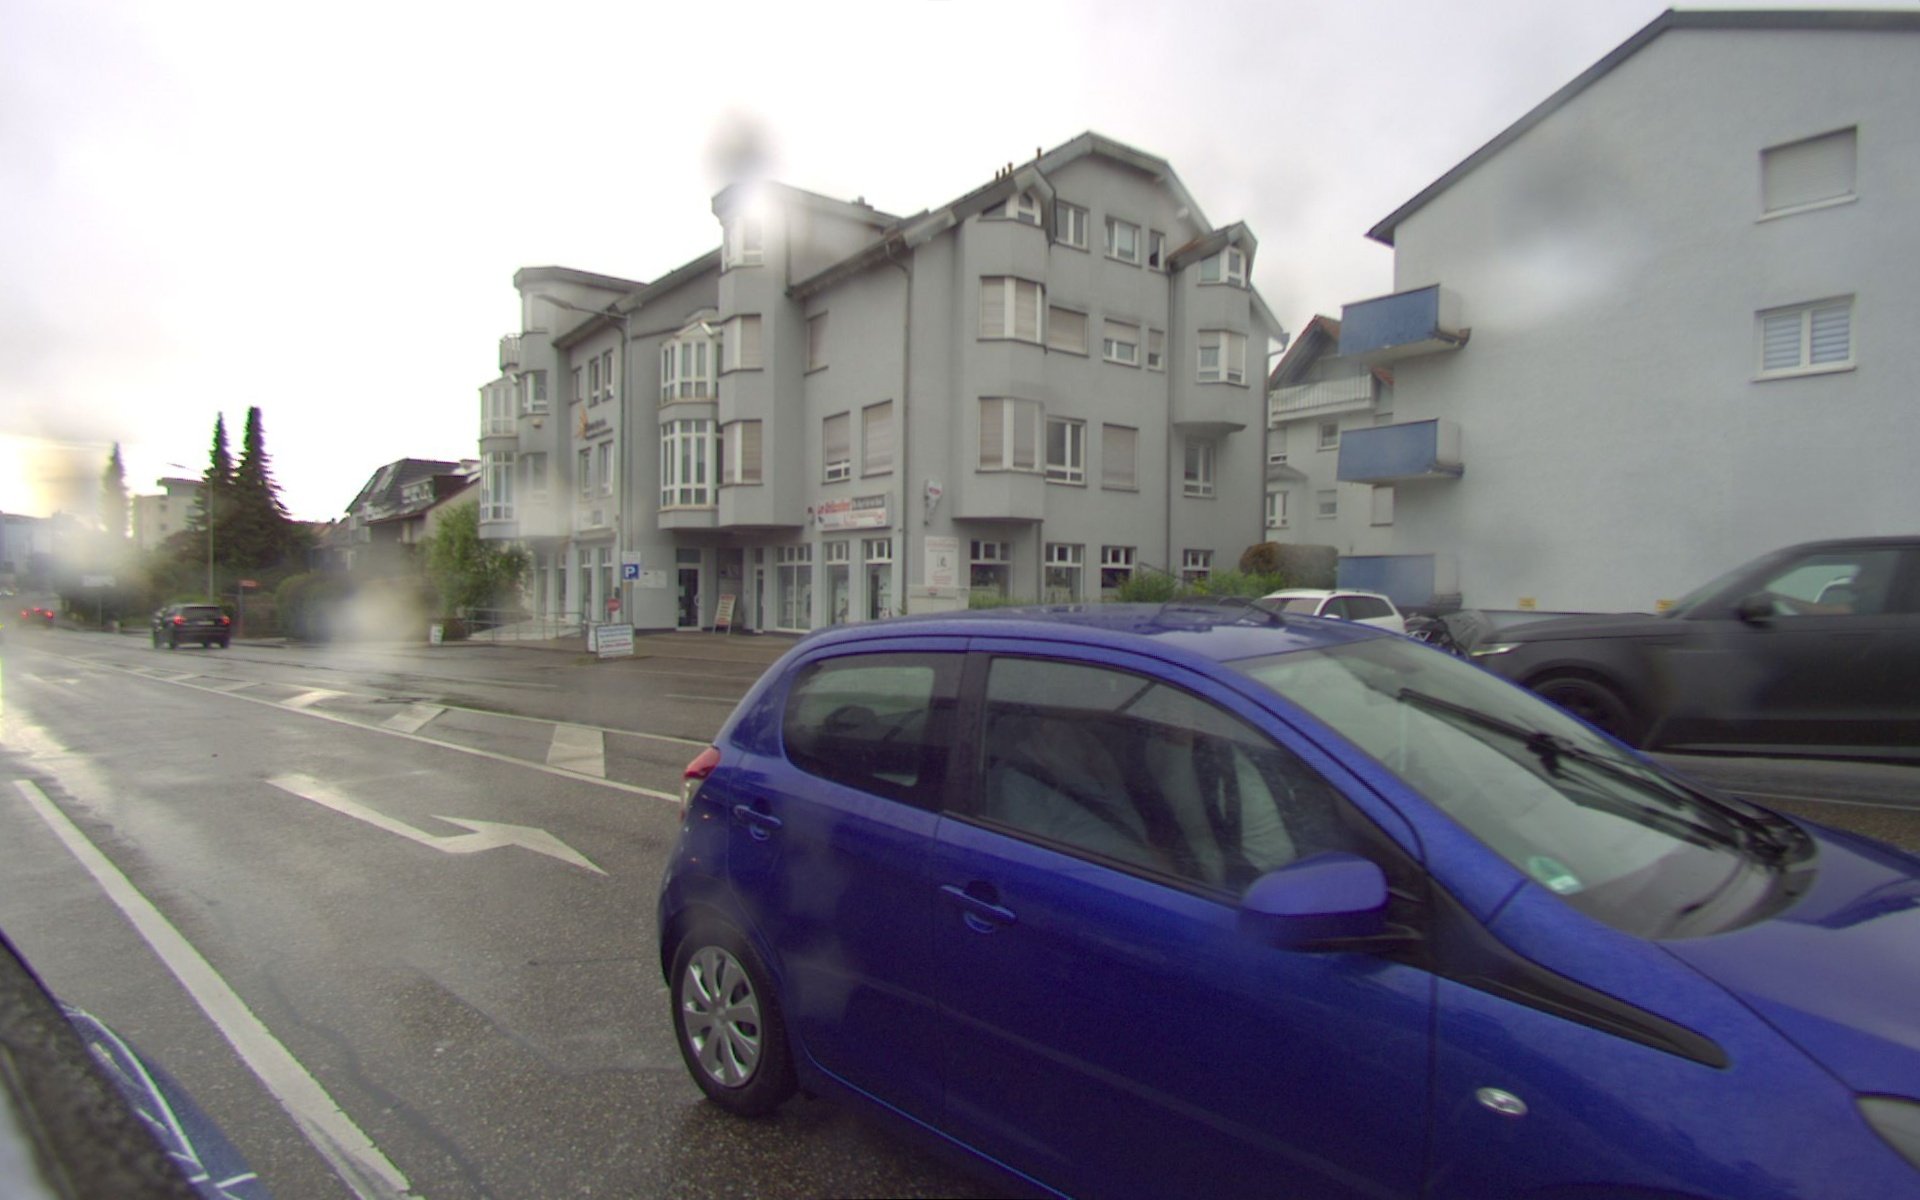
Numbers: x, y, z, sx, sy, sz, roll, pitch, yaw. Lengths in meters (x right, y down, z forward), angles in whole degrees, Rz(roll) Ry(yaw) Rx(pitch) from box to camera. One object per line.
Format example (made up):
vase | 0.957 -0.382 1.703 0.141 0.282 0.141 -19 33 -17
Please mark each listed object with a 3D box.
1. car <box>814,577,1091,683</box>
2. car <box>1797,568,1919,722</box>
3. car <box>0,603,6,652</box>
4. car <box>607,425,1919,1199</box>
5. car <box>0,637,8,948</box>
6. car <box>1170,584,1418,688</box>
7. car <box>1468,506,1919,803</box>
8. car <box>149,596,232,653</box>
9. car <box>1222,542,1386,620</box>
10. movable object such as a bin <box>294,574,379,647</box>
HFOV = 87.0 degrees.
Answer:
car | 0.046 0.457 18.841 2.146 1.696 5.407 -1 0 40
car | 12.372 0.486 13.035 3.938 1.763 1.832 -1 0 -41
car | -41.886 1.194 42.943 1.970 2.029 4.003 -1 0 -44
car | 0.765 0.593 2.476 3.350 1.568 1.630 -1 0 41
car | -6.500 0.646 5.096 4.645 1.763 1.973 -1 1 40
car | 5.686 0.510 16.911 4.555 1.508 1.932 -1 0 -42
car | 6.458 0.326 7.235 4.727 1.847 2.077 -1 0 39
car | -29.333 0.922 38.557 4.002 2.029 1.971 -1 0 45
car | 9.516 -0.526 28.035 3.930 2.029 2.007 -1 0 -22
movable object such as a bin | -25.805 0.403 41.896 2.878 2.863 2.203 -1 0 -33
